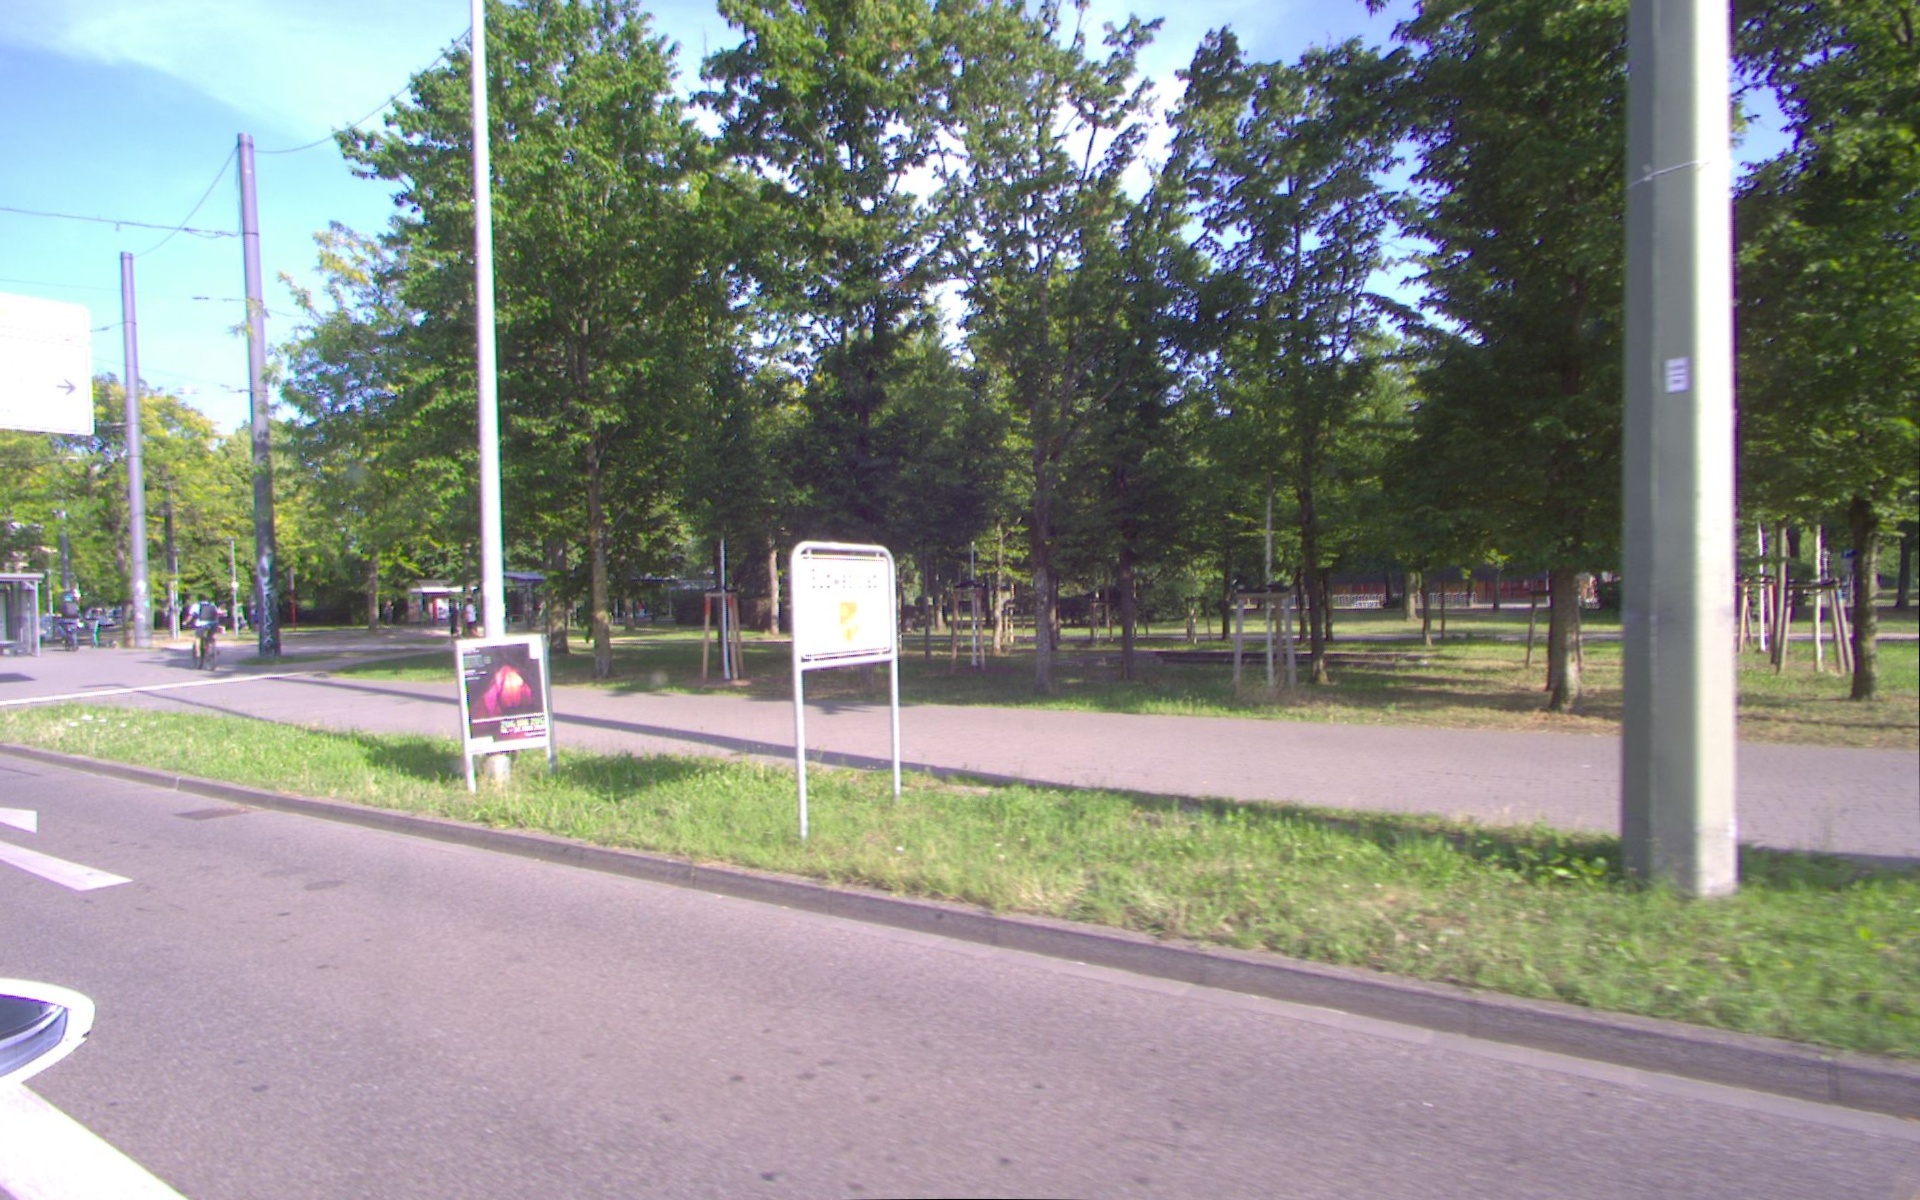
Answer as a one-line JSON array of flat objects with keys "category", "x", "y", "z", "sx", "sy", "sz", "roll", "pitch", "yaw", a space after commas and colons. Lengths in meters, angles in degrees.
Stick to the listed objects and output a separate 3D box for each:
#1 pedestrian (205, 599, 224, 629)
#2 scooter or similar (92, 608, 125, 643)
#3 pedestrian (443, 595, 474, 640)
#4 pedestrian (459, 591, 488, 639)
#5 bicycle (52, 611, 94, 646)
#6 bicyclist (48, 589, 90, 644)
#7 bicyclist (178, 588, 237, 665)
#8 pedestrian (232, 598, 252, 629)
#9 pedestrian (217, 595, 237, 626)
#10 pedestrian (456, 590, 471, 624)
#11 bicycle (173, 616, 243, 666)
[{"category": "pedestrian", "x": -41.419, "y": 0.782, "z": 55.628, "sx": 0.681, "sy": 1.632, "sz": 0.639, "roll": 0, "pitch": 1, "yaw": 32}, {"category": "scooter or similar", "x": -31.104, "y": 0.925, "z": 36.577, "sx": 1.115, "sy": 1.248, "sz": 0.351, "roll": -1, "pitch": 1, "yaw": 18}, {"category": "pedestrian", "x": -20.221, "y": 0.694, "z": 40.385, "sx": 0.863, "sy": 1.800, "sz": 0.673, "roll": 0, "pitch": -1, "yaw": 13}, {"category": "pedestrian", "x": -20.023, "y": 0.627, "z": 41.223, "sx": 0.863, "sy": 1.922, "sz": 0.673, "roll": 0, "pitch": -1, "yaw": 11}, {"category": "bicycle", "x": -29.969, "y": 0.962, "z": 33.826, "sx": 1.711, "sy": 1.103, "sz": 0.638, "roll": -1, "pitch": 3, "yaw": 36}, {"category": "bicyclist", "x": -29.912, "y": 0.548, "z": 33.622, "sx": 1.125, "sy": 1.770, "sz": 0.717, "roll": -1, "pitch": 4, "yaw": 36}, {"category": "bicyclist", "x": -17.986, "y": 0.637, "z": 23.936, "sx": 1.124, "sy": 1.770, "sz": 0.647, "roll": -1, "pitch": 4, "yaw": 31}, {"category": "pedestrian", "x": -39.456, "y": 0.747, "z": 55.008, "sx": 0.681, "sy": 1.687, "sz": 0.639, "roll": 0, "pitch": 1, "yaw": 32}, {"category": "pedestrian", "x": -40.570, "y": 0.573, "z": 55.412, "sx": 0.681, "sy": 1.687, "sz": 0.639, "roll": 0, "pitch": 1, "yaw": 32}, {"category": "pedestrian", "x": -28.190, "y": 0.398, "z": 56.891, "sx": 0.594, "sy": 1.891, "sz": 0.462, "roll": 0, "pitch": -1, "yaw": 1}, {"category": "bicycle", "x": -18.012, "y": 0.973, "z": 23.979, "sx": 1.912, "sy": 1.103, "sz": 0.639, "roll": -1, "pitch": 3, "yaw": 32}]
